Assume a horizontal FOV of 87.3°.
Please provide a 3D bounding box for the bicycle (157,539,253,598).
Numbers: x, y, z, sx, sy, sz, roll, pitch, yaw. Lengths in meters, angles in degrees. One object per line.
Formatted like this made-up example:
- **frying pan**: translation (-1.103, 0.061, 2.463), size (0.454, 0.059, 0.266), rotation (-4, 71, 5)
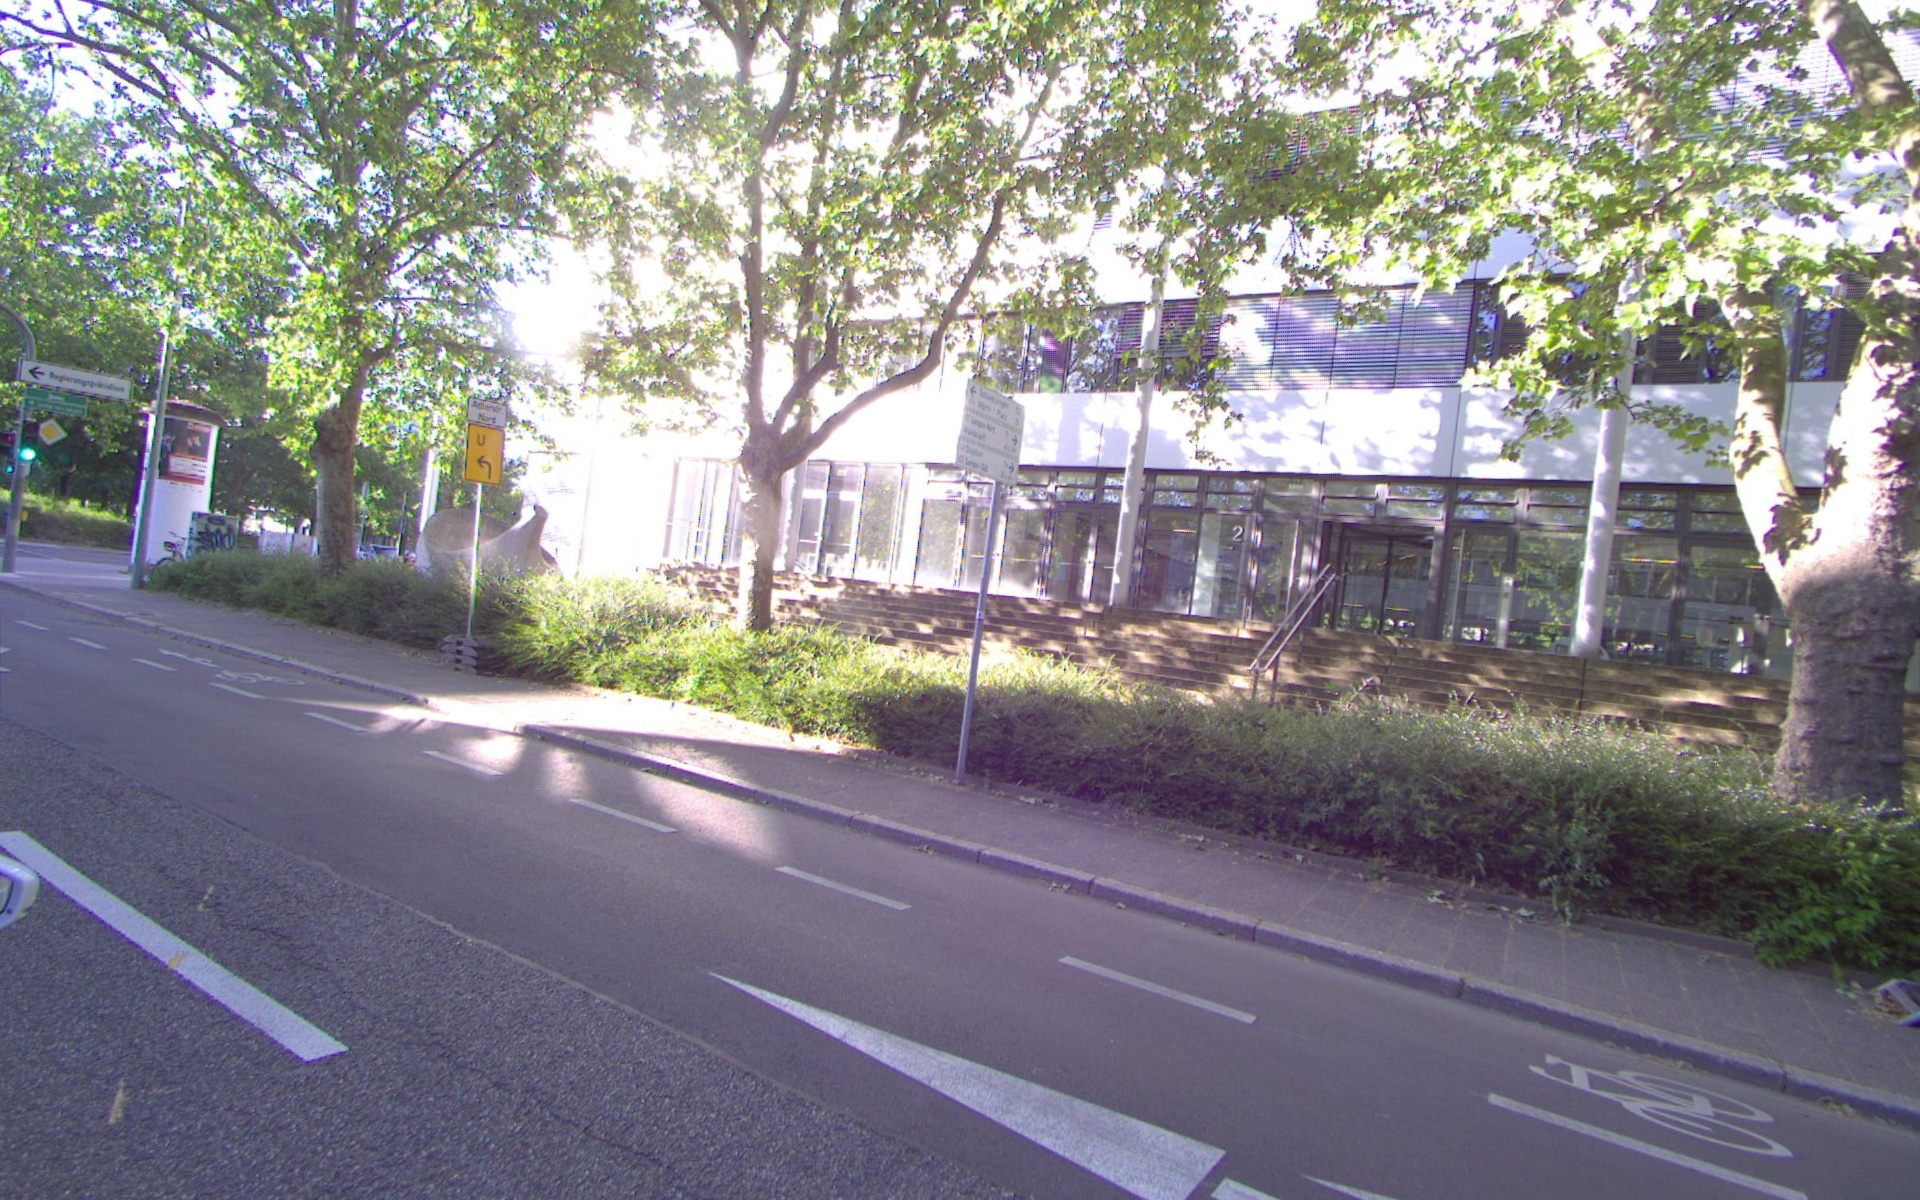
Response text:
- **bicycle**: translation (-15.909, -0.637, 21.253), size (0.631, 1.040, 1.887), rotation (7, -2, -5)
